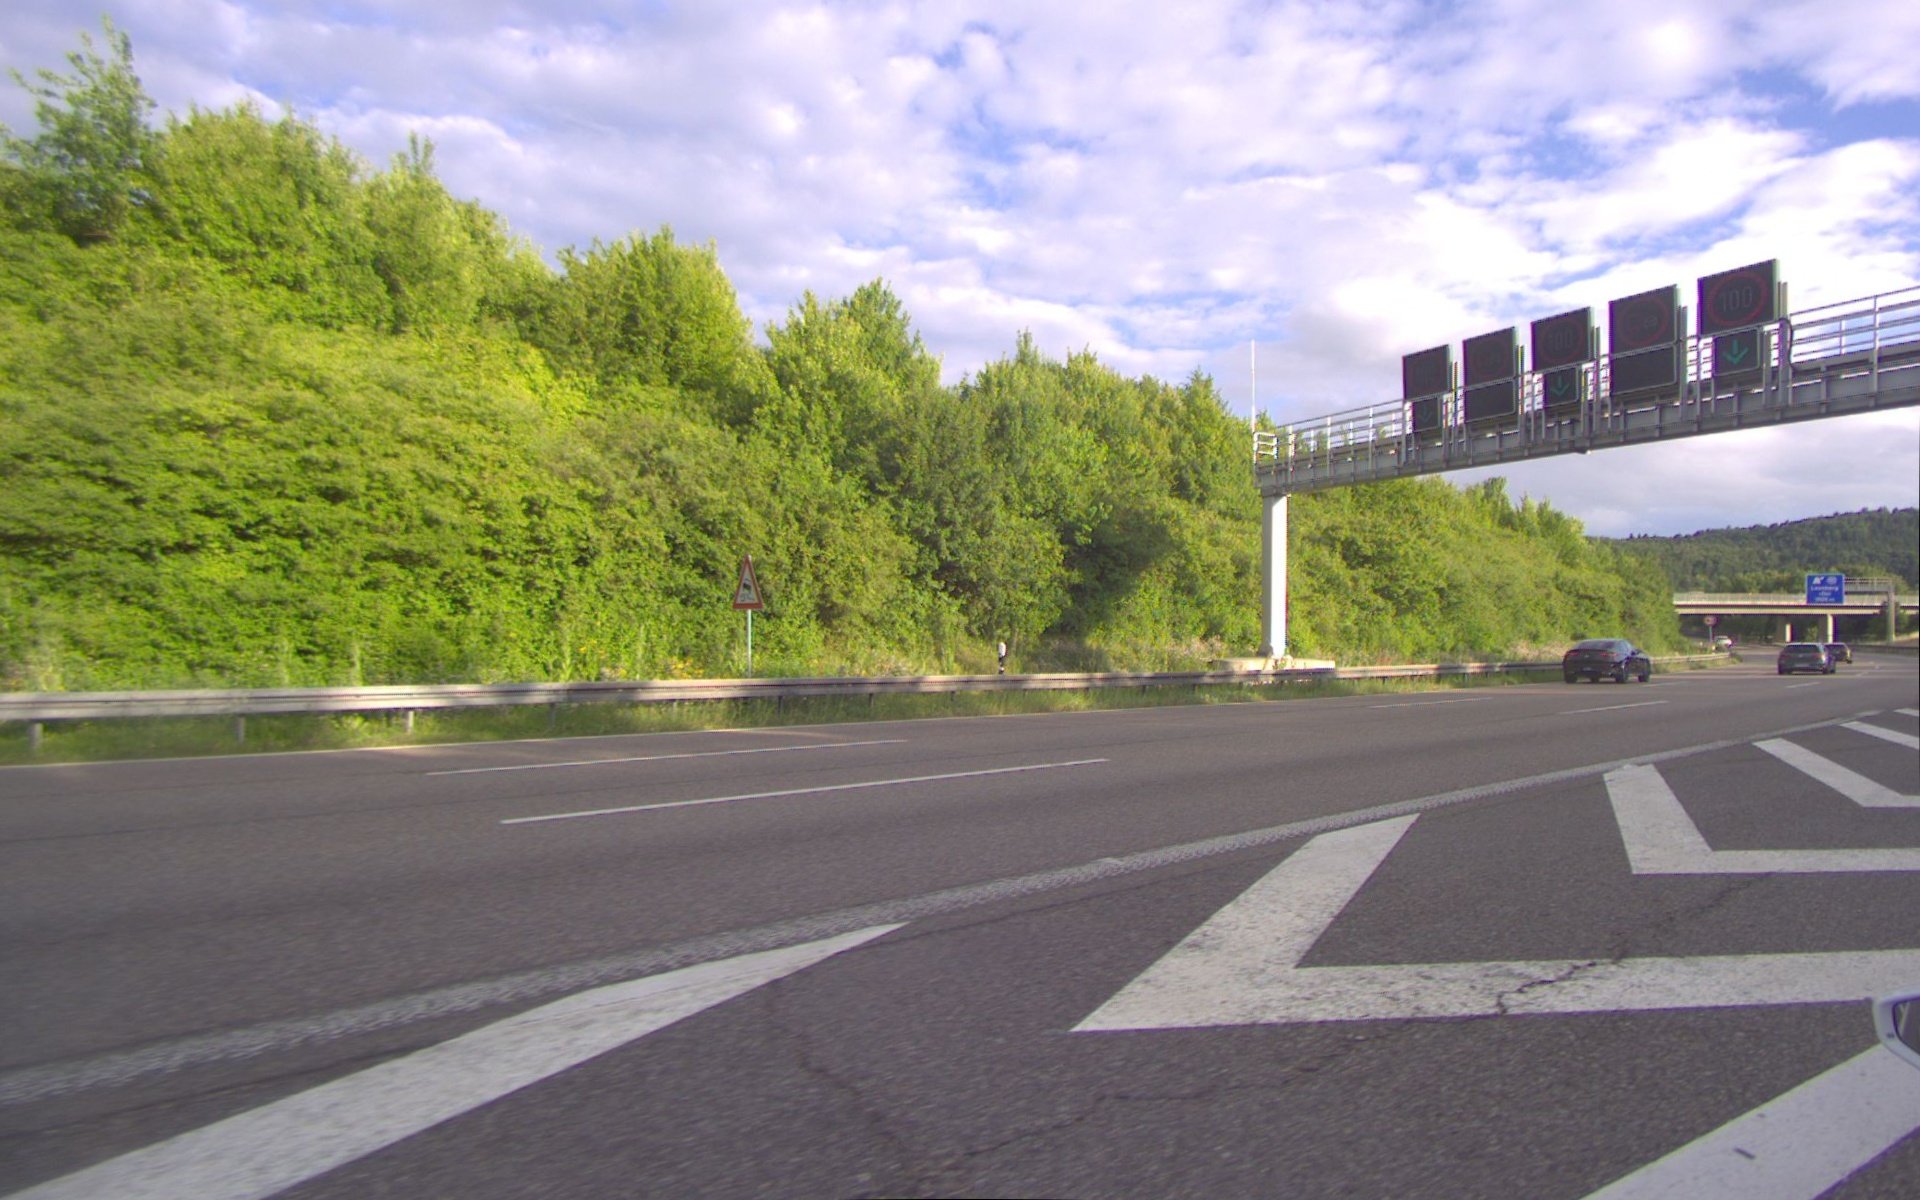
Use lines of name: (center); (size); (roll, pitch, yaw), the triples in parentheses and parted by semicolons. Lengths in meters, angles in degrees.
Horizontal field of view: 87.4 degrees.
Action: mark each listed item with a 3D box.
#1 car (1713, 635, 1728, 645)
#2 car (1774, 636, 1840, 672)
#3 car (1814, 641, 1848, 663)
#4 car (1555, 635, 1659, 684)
car: (110.920, 5.793, 146.493); (1.715, 1.486, 3.625); (-1, -3, 37)
car: (37.905, 2.419, 44.929); (3.761, 1.485, 1.722); (2, -7, -43)
car: (60.753, 3.598, 70.035); (1.587, 1.485, 3.507); (-4, -4, 43)
car: (23.506, 2.156, 36.447); (3.962, 1.656, 1.820); (2, -5, -36)
